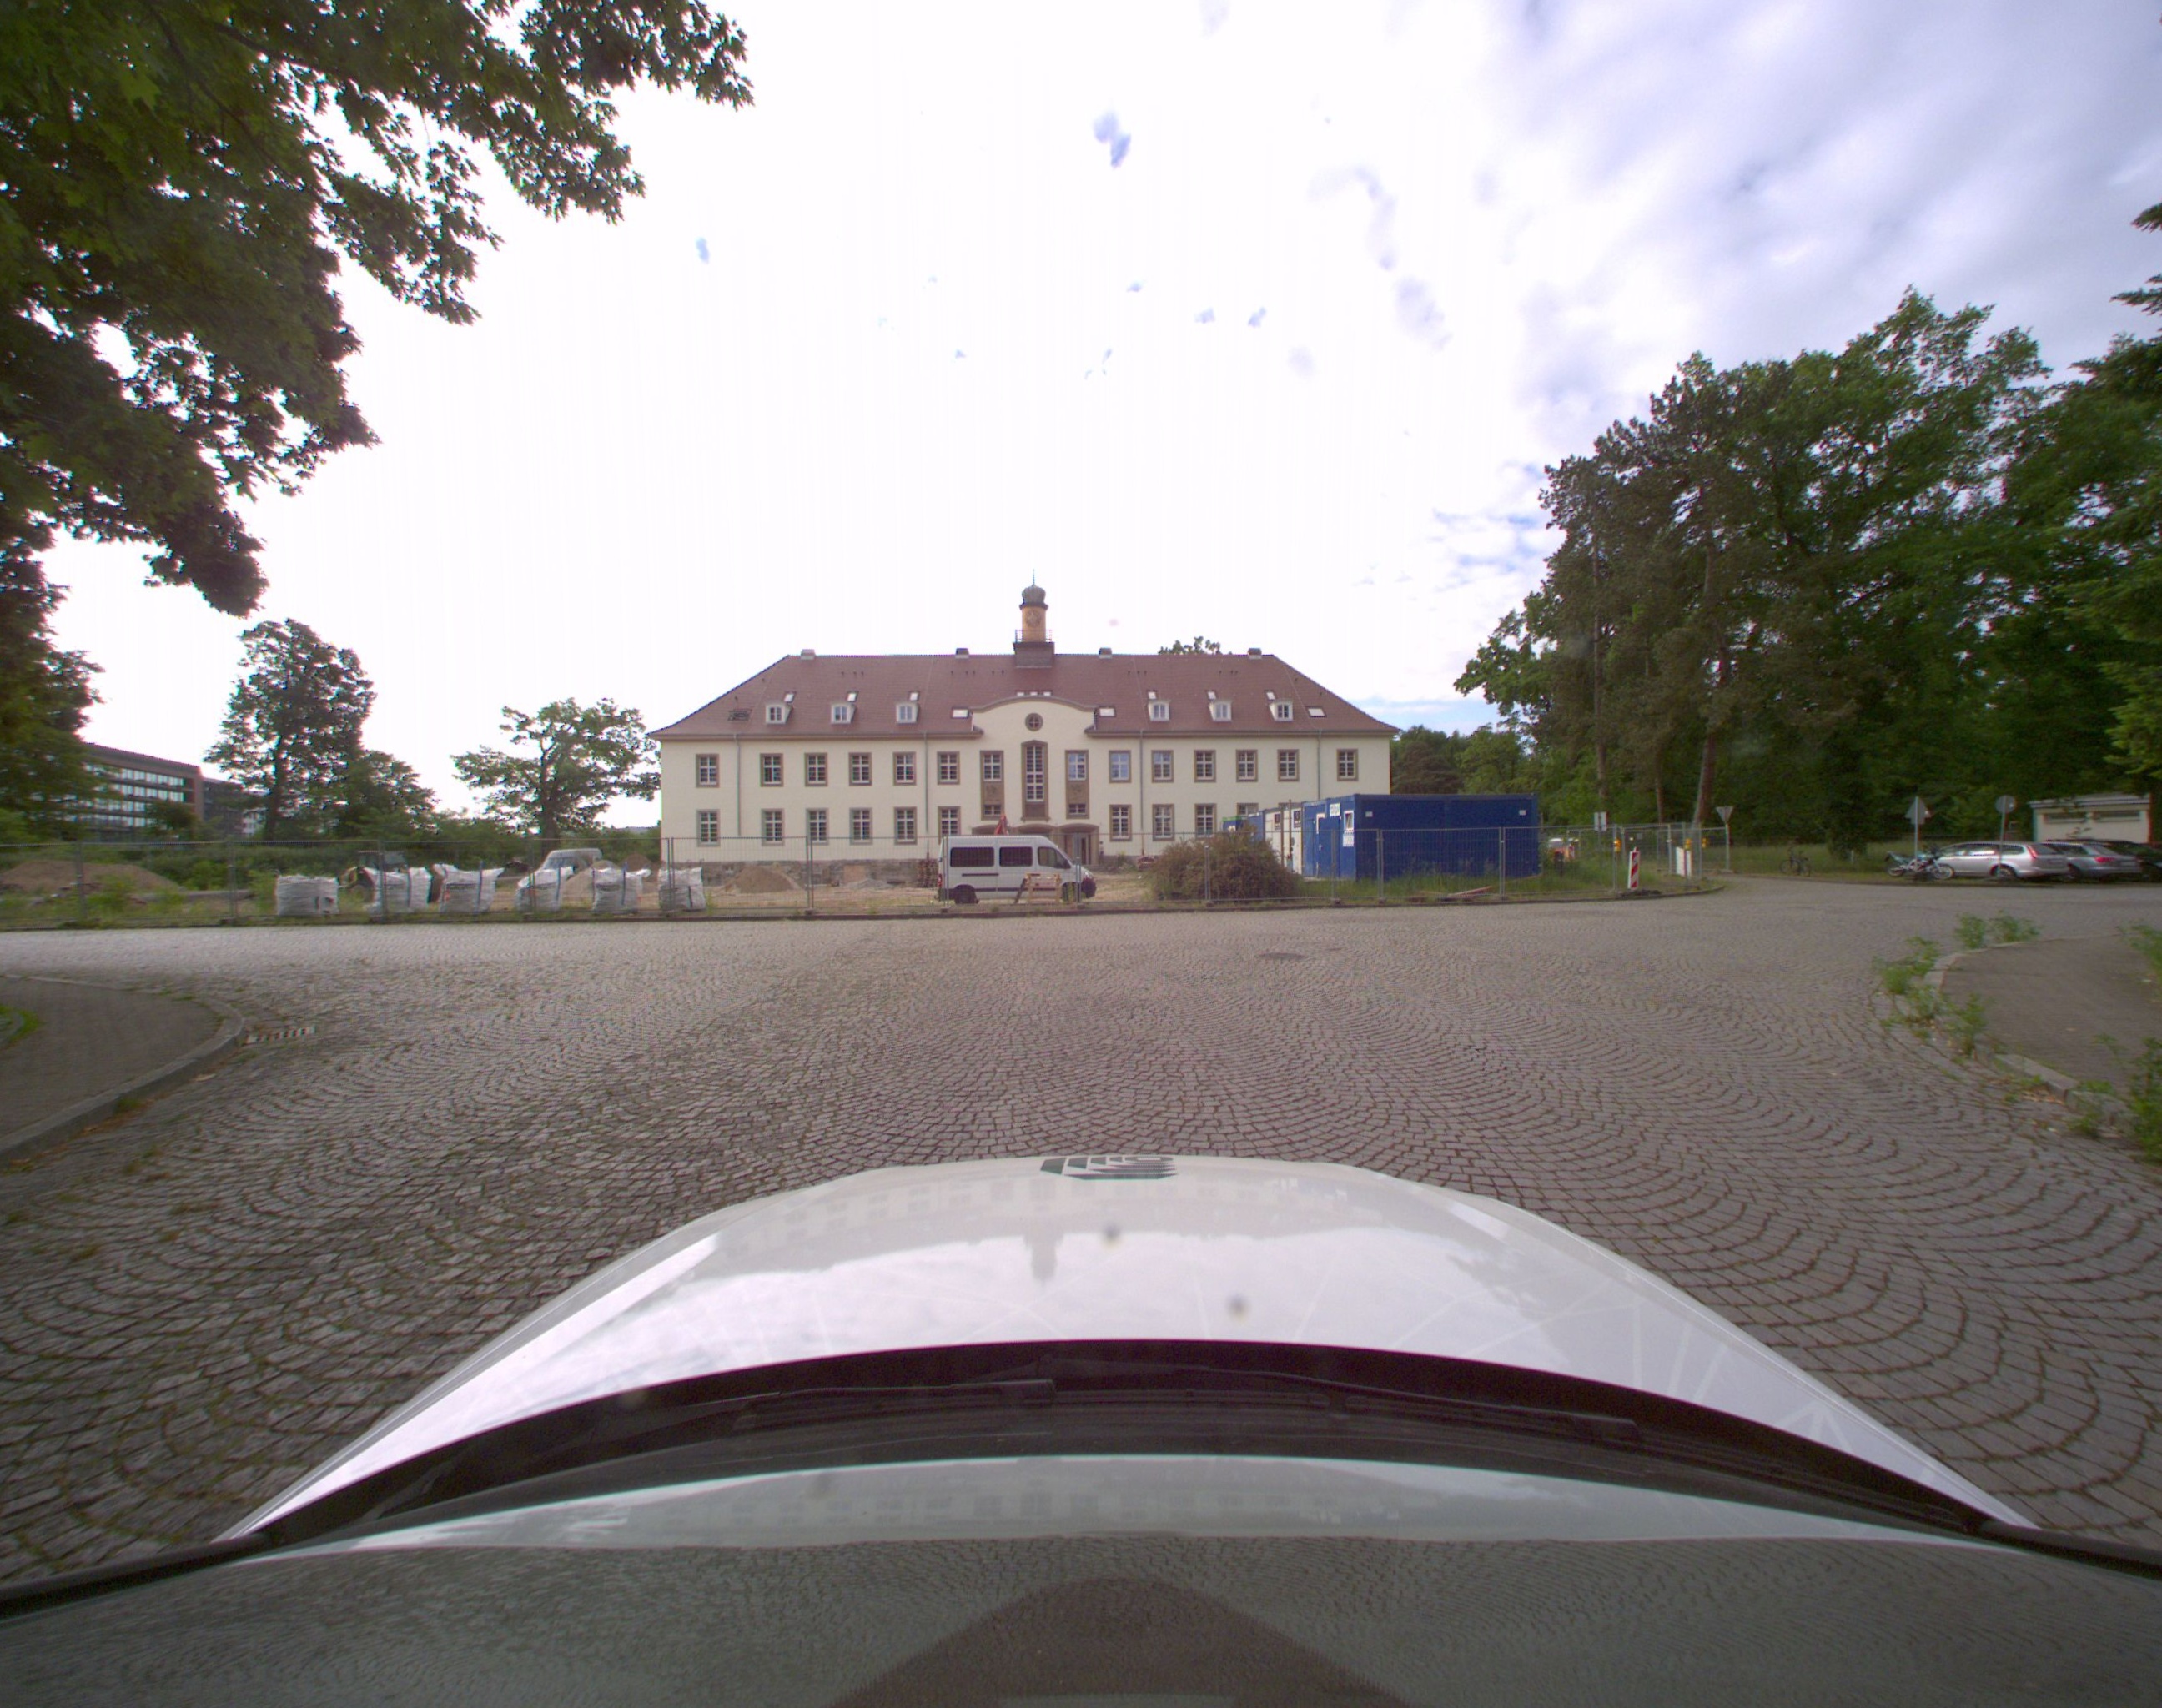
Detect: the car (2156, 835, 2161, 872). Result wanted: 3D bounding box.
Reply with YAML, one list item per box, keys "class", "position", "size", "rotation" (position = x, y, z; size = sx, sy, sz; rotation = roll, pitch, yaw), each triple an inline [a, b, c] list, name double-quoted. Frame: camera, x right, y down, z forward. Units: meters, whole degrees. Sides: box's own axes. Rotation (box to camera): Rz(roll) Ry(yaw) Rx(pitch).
- class: "car"
  position: [43.415, 0.022, 30.575]
  size: [1.561, 1.443, 3.355]
  rotation: [-1, 2, -11]

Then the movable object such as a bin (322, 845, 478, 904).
- class: "movable object such as a bin"
  position: [-31.414, 0.933, 37.706]
  size: [5.320, 2.556, 1.997]
  rotation: [-1, 0, -5]

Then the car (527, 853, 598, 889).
- class: "car"
  position: [-33.353, 1.036, 52.534]
  size: [2.067, 2.150, 4.883]
  rotation: [-1, 0, -9]

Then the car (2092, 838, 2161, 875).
- class: "car"
  position: [41.357, 0.093, 31.000]
  size: [1.440, 1.361, 3.362]
  rotation: [-1, 2, -4]

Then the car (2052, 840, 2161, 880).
- class: "car"
  position: [38.683, 0.191, 30.021]
  size: [1.637, 1.320, 3.354]
  rotation: [-1, 2, -12]

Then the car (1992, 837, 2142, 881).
- class: "car"
  position: [35.906, 0.125, 29.761]
  size: [1.386, 1.447, 3.210]
  rotation: [-1, 2, -11]

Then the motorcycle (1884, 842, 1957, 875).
- class: "motorcycle"
  position: [31.171, 0.155, 30.266]
  size: [0.516, 1.164, 1.959]
  rotation: [-1, 0, -8]

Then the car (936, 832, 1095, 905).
- class: "car"
  position: [-2.181, 0.465, 27.919]
  size: [5.249, 2.344, 1.908]
  rotation: [-1, 0, -2]

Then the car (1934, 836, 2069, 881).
- class: "car"
  position: [33.593, 0.126, 29.815]
  size: [1.319, 1.488, 3.014]
  rotation: [-1, 2, -12]

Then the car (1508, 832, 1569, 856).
- class: "car"
  position: [30.287, -0.642, 53.898]
  size: [4.464, 1.502, 1.745]
  rotation: [-1, 0, -35]

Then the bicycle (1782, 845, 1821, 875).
- class: "bicycle"
  position: [28.269, 0.228, 31.992]
  size: [0.509, 1.167, 1.813]
  rotation: [-1, 0, 20]

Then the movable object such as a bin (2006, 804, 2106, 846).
- class: "movable object such as a bin"
  position: [81.901, -2.405, 68.500]
  size: [2.009, 3.273, 5.259]
  rotation: [-1, 0, -36]

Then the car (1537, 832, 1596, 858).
- class: "car"
  position: [30.043, -0.562, 50.337]
  size: [4.004, 1.487, 1.604]
  rotation: [-2, 1, -35]

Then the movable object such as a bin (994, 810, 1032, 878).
- class: "movable object such as a bin"
  position: [-4.021, -0.551, 47.493]
  size: [1.991, 3.771, 5.305]
  rotation: [-1, 0, -7]
